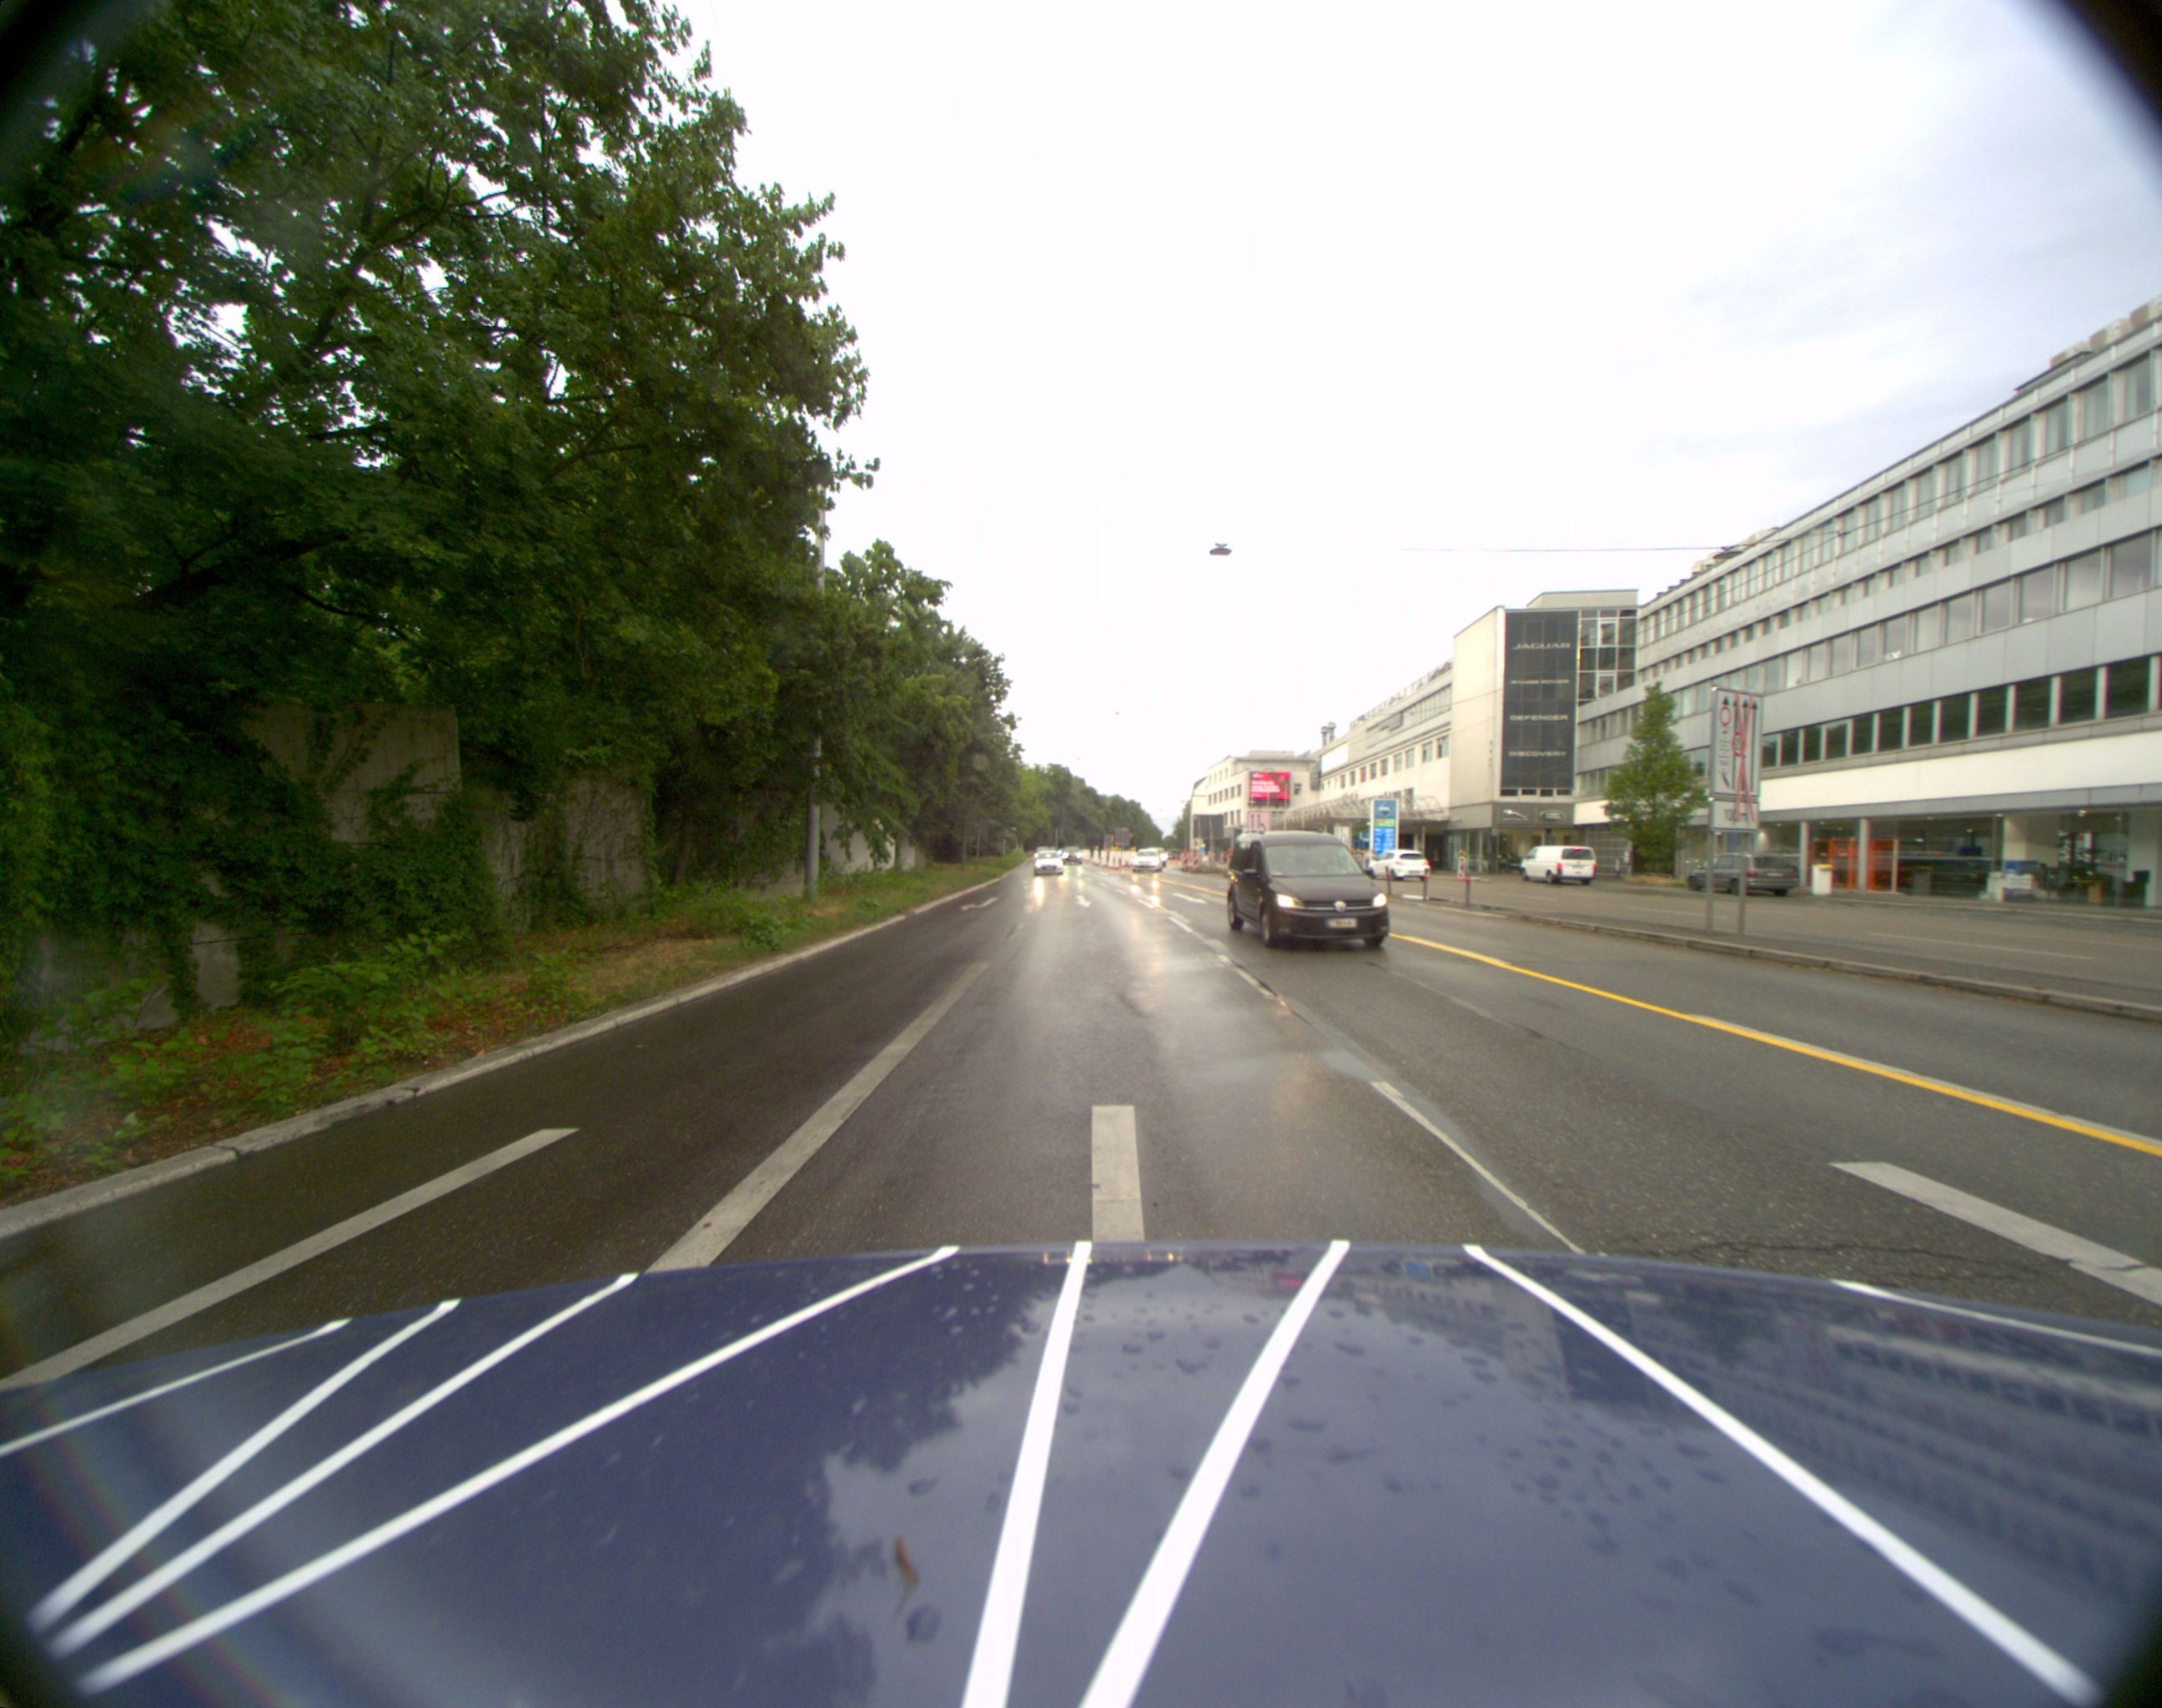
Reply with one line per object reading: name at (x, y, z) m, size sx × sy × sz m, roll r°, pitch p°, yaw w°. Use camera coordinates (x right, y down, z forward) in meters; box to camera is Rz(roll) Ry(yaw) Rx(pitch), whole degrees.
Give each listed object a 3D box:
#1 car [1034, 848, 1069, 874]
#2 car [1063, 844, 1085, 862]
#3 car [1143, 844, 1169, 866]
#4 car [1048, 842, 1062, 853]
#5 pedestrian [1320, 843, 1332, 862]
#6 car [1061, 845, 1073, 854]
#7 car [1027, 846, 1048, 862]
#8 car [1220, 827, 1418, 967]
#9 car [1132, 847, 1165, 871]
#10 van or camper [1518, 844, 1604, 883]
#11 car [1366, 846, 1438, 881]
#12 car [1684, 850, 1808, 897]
car at (-1.817, 0.409, 48.129) m, size 1.814 × 1.444 × 4.333 m, roll -2°, pitch 1°, yaw 2°
car at (-0.716, -0.116, 71.295) m, size 1.815 × 1.590 × 4.331 m, roll -2°, pitch 1°, yaw -4°
car at (5.890, 0.064, 60.295) m, size 1.771 × 1.608 × 3.949 m, roll -2°, pitch 1°, yaw 2°
car at (-3.884, -1.066, 115.811) m, size 1.814 × 1.590 × 4.333 m, roll -2°, pitch 1°, yaw 2°
pedestrian at (23.771, -0.174, 73.696) m, size 0.895 × 1.804 × 0.941 m, roll -2°, pitch 1°, yaw 5°
car at (-2.489, -0.804, 138.025) m, size 1.814 × 1.590 × 4.333 m, roll -2°, pitch 1°, yaw 2°
car at (-4.576, -0.005, 79.849) m, size 1.814 × 1.590 × 4.333 m, roll -2°, pitch 1°, yaw 1°
car at (3.582, 0.556, 12.367) m, size 1.905 × 1.804 × 4.430 m, roll -2°, pitch 1°, yaw 2°
car at (4.442, 0.280, 49.489) m, size 1.770 × 1.407 × 4.336 m, roll -2°, pitch 1°, yaw 9°
van or camper at (24.948, 0.459, 39.681) m, size 1.939 × 1.913 × 4.686 m, roll 0°, pitch 1°, yaw 7°
car at (15.550, 0.439, 37.037) m, size 1.806 × 1.523 × 3.764 m, roll 4°, pitch 0°, yaw -1°
car at (28.279, 0.766, 32.529) m, size 1.922 × 1.805 × 4.166 m, roll -2°, pitch 1°, yaw 6°
